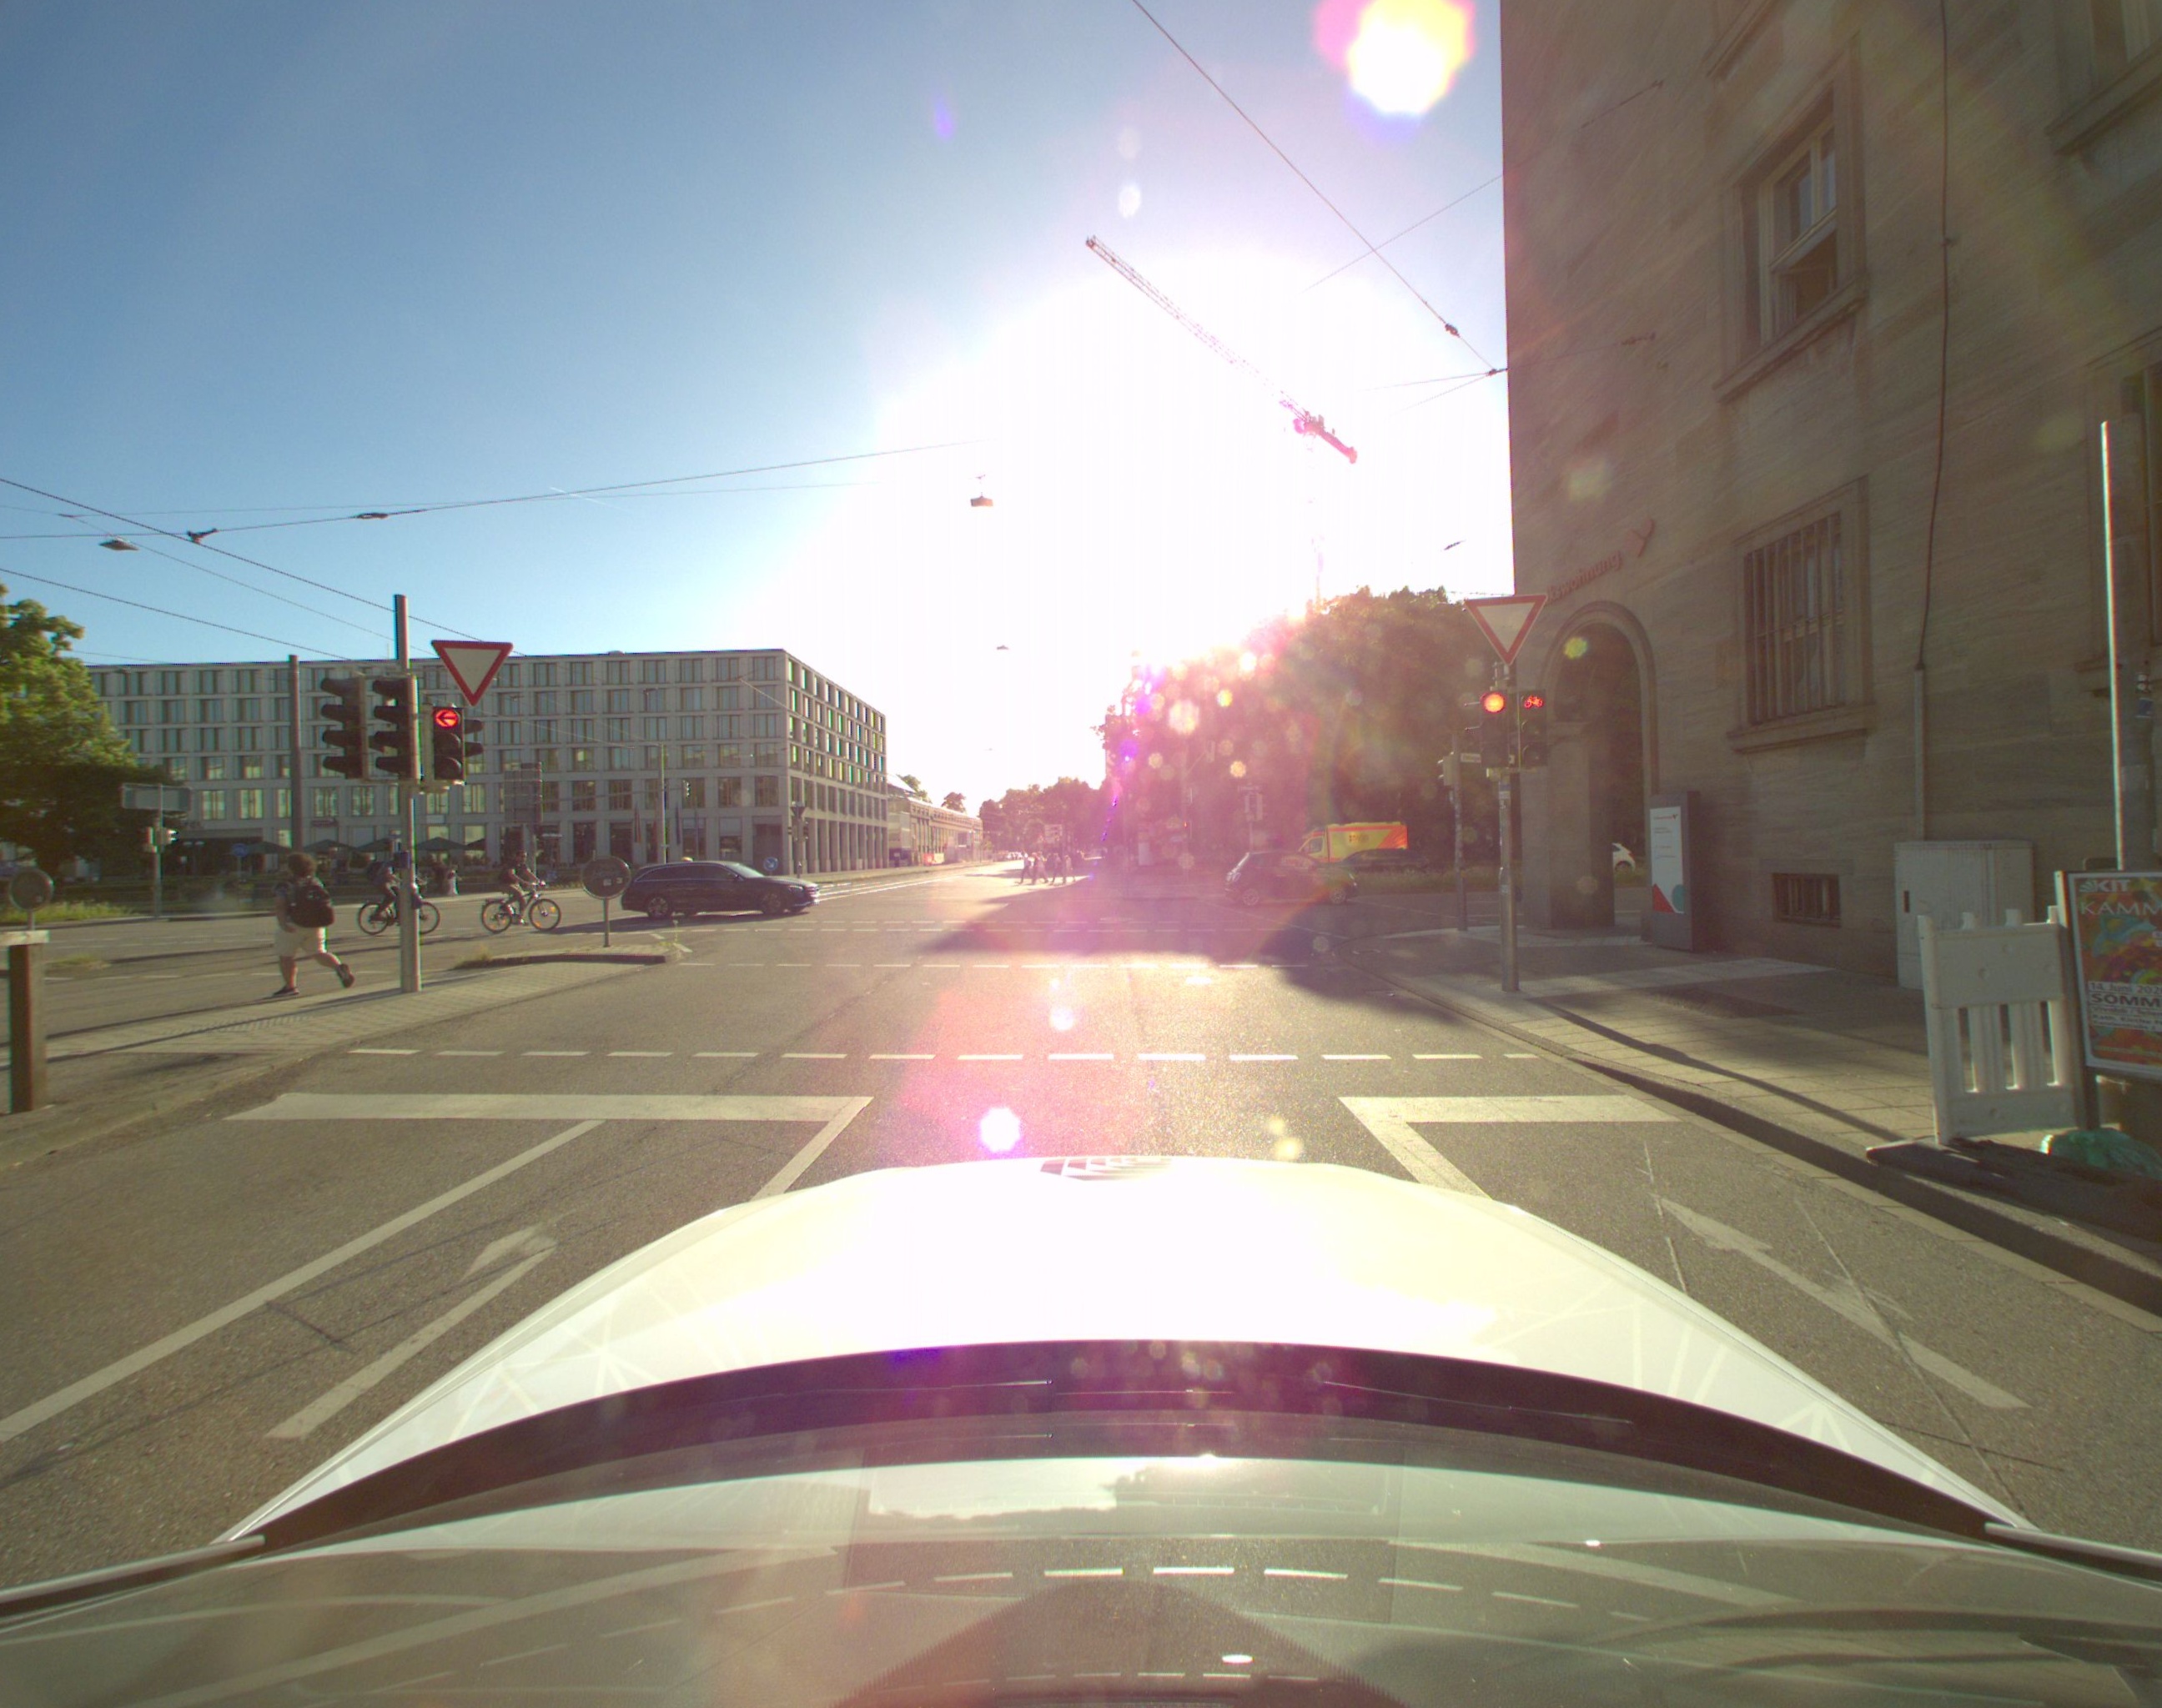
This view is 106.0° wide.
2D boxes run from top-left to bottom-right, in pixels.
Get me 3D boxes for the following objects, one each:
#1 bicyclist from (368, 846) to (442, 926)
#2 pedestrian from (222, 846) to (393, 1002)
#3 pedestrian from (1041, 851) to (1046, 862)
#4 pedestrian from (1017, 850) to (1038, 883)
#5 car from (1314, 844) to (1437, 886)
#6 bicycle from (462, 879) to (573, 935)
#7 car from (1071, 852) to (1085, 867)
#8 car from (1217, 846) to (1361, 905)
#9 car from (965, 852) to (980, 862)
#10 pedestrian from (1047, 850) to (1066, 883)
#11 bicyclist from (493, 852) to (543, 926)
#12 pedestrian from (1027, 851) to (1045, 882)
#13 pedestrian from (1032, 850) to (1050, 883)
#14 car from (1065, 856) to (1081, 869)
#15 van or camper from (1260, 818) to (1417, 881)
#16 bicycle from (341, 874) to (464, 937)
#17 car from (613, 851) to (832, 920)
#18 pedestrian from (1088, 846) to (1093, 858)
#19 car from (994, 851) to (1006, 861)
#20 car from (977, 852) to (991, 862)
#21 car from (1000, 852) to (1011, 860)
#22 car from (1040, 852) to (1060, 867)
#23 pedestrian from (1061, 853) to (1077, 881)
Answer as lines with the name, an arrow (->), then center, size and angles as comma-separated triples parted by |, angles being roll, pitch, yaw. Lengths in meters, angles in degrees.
bicyclist -> -14.974, 0.693, 18.065 | 0.885, 1.695, 0.846 | -2, 0, 7
pedestrian -> -9.157, 0.783, 9.706 | 1.039, 1.721, 1.032 | -2, 0, -10
pedestrian -> -4.933, 0.307, 107.291 | 0.522, 1.484, 0.437 | 0, -1, 0
pedestrian -> -2.943, 0.677, 44.959 | 0.967, 1.784, 0.776 | -2, 0, -15
car -> 11.792, 0.451, 32.825 | 4.297, 1.647, 1.889 | 0, -1, 2
bicycle -> -12.355, 1.156, 17.883 | 1.913, 1.122, 0.792 | -2, 0, 7
car -> -0.388, 0.775, 107.843 | 1.678, 1.962, 3.510 | 0, -1, 2
car -> 5.571, 0.559, 22.042 | 3.519, 1.506, 1.522 | -1, 0, -1
car -> -17.833, 0.498, 134.126 | 1.812, 1.712, 3.807 | -2, 0, 2
pedestrian -> -1.378, 0.698, 45.620 | 0.849, 1.784, 0.776 | -2, 0, -15
bicyclist -> -12.312, 0.747, 17.822 | 0.615, 1.582, 0.595 | -2, 0, 7
pedestrian -> -2.600, 0.708, 47.052 | 0.849, 1.784, 0.776 | -2, 0, -15
pedestrian -> -2.267, 0.704, 46.299 | 0.849, 1.784, 0.776 | -2, 0, -15
car -> -0.851, 0.992, 92.225 | 1.678, 1.501, 3.510 | 0, -1, 2
van or camper -> 12.007, -0.186, 38.549 | 6.674, 2.862, 2.915 | 0, -1, 6
bicycle -> -15.023, 1.133, 18.060 | 2.037, 1.288, 0.888 | -2, 0, 7
car -> -9.374, 0.802, 21.566 | 4.880, 1.656, 1.935 | -1, 0, 2
pedestrian -> 2.901, -0.747, 246.050 | 1.396, 3.597, 1.568 | 0, -1, 1
car -> -15.543, 0.378, 156.600 | 1.812, 1.712, 3.807 | -2, 0, 2
car -> -17.309, 0.507, 145.029 | 1.812, 1.712, 3.807 | -2, 0, 2
car -> -14.899, 0.352, 160.553 | 1.603, 1.498, 3.807 | -2, 0, 2
car -> -3.106, 0.594, 82.120 | 1.678, 1.501, 3.510 | 0, -1, 2
pedestrian -> -0.704, 0.738, 46.435 | 0.763, 1.558, 0.585 | -2, 0, -15
